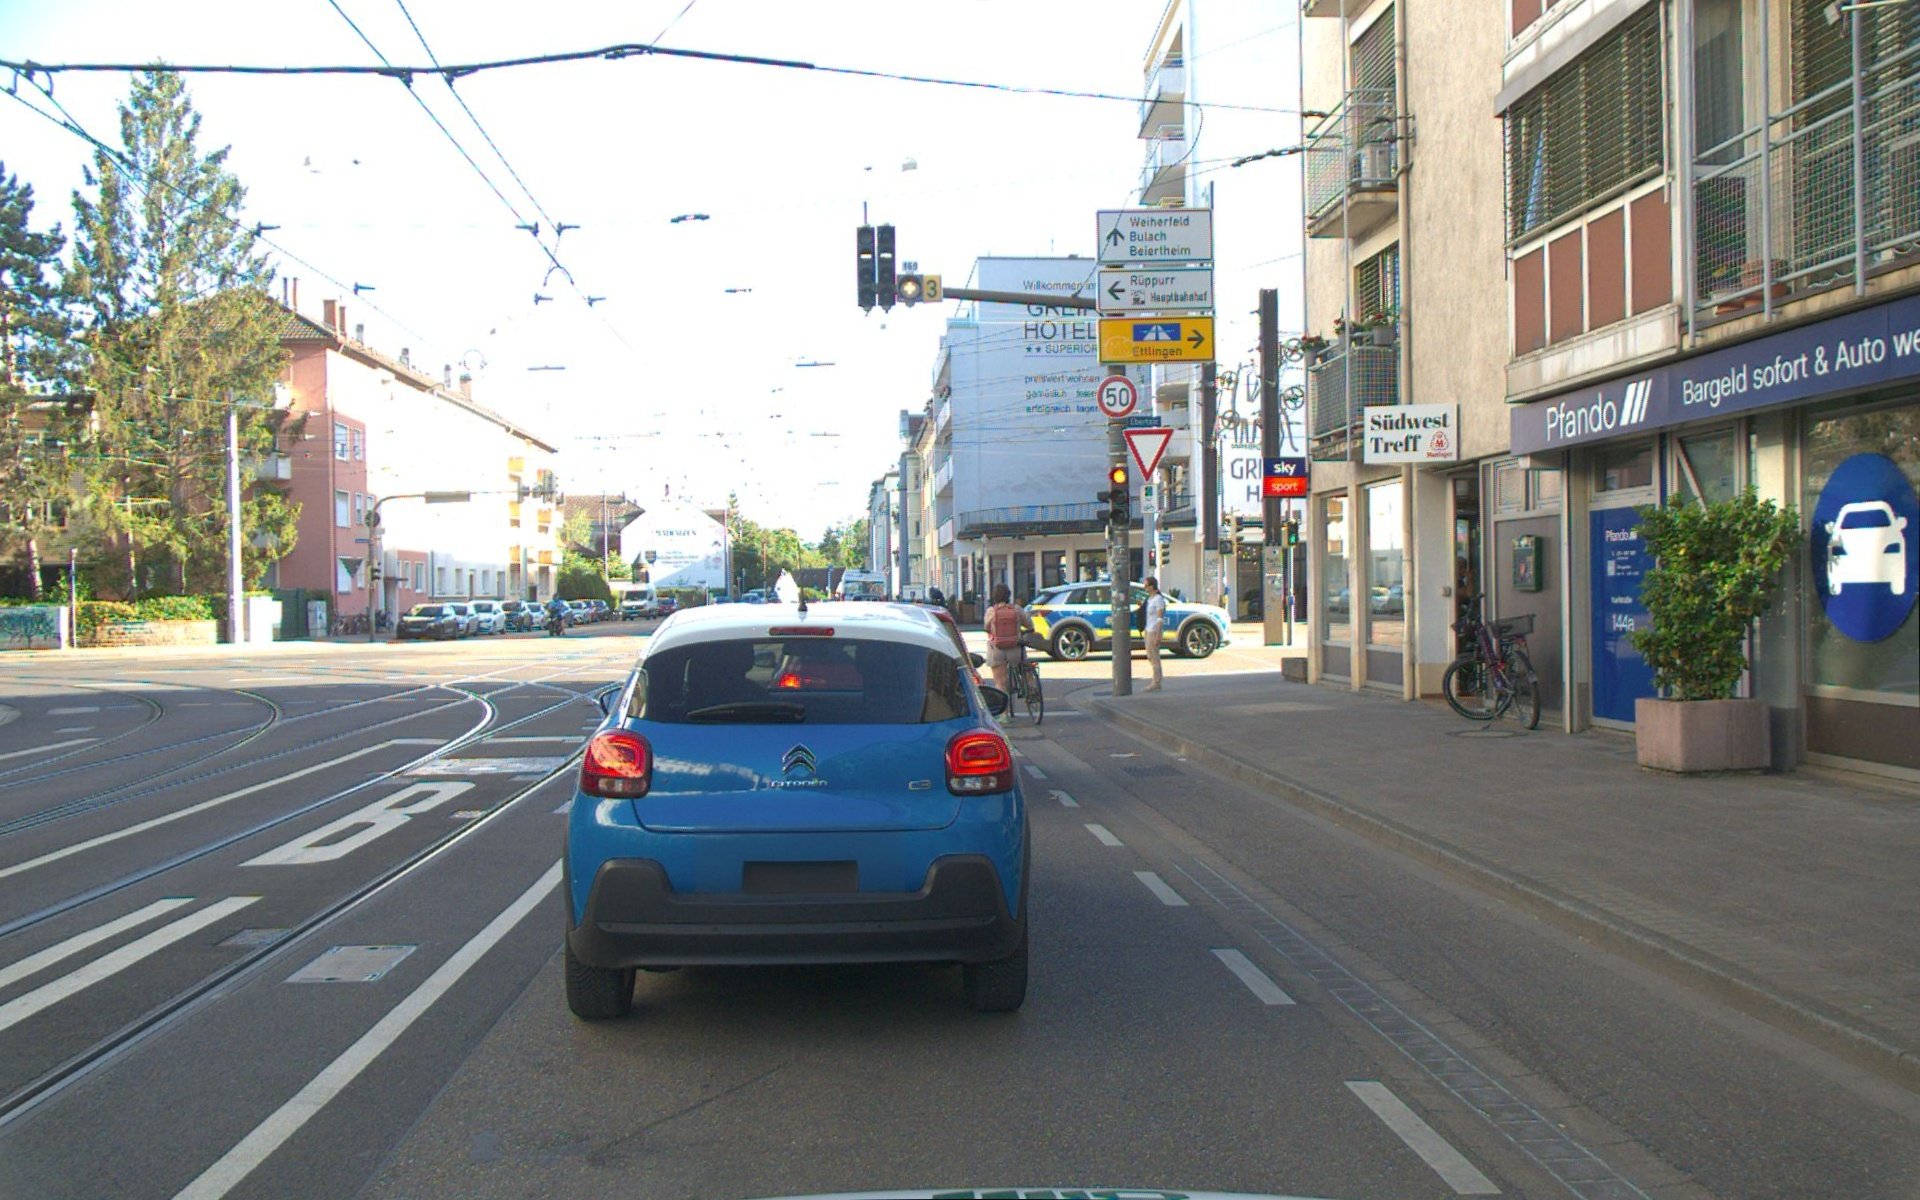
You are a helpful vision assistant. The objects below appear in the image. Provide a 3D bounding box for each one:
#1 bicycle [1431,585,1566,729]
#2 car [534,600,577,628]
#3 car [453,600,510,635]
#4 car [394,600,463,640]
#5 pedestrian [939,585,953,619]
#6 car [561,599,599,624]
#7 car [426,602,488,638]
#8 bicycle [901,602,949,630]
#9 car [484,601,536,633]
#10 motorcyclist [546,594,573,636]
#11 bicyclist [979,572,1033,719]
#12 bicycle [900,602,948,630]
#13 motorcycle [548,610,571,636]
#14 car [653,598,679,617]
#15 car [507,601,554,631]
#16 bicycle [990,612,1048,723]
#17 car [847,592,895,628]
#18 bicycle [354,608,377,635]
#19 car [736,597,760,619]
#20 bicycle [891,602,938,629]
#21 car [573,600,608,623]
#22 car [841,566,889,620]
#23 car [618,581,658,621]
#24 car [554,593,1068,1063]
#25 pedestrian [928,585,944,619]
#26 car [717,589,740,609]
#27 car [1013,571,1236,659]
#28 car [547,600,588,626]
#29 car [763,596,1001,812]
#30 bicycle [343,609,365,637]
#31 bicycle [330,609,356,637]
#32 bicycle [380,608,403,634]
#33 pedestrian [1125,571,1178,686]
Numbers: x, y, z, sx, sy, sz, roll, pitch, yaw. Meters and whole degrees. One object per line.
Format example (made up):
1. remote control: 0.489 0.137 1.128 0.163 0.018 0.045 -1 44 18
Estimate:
1. bicycle: 5.110 0.504 15.826 0.627 1.286 1.910 -1 0 -1
2. car: -23.940 0.822 97.998 1.913 1.545 3.995 -1 0 -6
3. car: -22.761 0.820 78.867 1.913 1.545 3.995 -1 0 -6
4. car: -22.019 0.791 68.656 1.913 1.545 3.995 -1 0 -6
5. pedestrian: -0.590 0.083 70.000 0.459 1.445 0.525 -1 0 -13
6. car: -24.857 0.749 108.268 1.913 1.545 3.995 -1 0 -6
7. car: -22.559 0.876 74.261 1.913 1.545 4.040 -1 0 -6
8. bicycle: -1.398 0.638 65.786 1.868 1.083 0.641 -1 0 -8
9. car: -23.239 0.839 85.524 1.913 1.545 3.995 -1 0 -6
10. motorcyclist: -16.210 0.606 66.959 0.973 1.659 0.737 -1 0 -10
11. bicyclist: 0.565 0.551 20.602 0.588 1.776 1.084 -1 0 -1
12. bicycle: -1.451 0.663 67.091 1.868 1.083 0.641 -1 0 -8
13. motorcycle: -16.230 0.939 67.027 0.738 0.993 2.092 -1 0 -9
14. car: -25.582 0.643 144.171 1.913 1.545 3.995 -1 0 -6
15. car: -23.769 0.855 91.573 1.913 1.545 3.995 -1 0 -6
16. bicycle: 0.718 0.814 20.643 0.601 1.286 1.910 -1 0 -1
17. car: -3.681 0.382 67.746 1.752 1.383 3.909 -1 0 -6
18. bicycle: -25.879 0.928 71.992 0.527 1.101 1.908 -1 0 -7
19. car: -21.820 0.807 170.498 2.293 2.074 5.044 -1 0 -6
20. bicycle: -1.865 0.641 68.277 1.868 1.083 0.641 -1 0 -8
21. car: -25.573 0.788 114.599 1.913 1.545 3.995 -1 0 -6
22. car: -4.236 -0.319 73.185 2.039 2.309 5.646 0 0 -4
23. car: -23.231 0.067 119.583 2.446 2.759 5.828 -1 0 -7
24. car: -0.615 0.731 7.357 1.647 1.488 3.997 1 0 -4
25. pedestrian: -1.015 0.088 70.245 0.514 1.445 0.547 -1 0 19
26. car: -20.284 -0.102 144.957 1.968 1.656 5.043 -1 0 -8
27. car: 3.435 0.301 35.002 4.446 1.713 1.790 -1 0 -5
28. car: -24.415 0.808 102.995 1.913 1.545 3.995 -1 0 -6
29. car: -0.682 0.726 13.566 1.647 1.488 3.997 1 0 -4
30. bicycle: -24.593 0.929 67.122 0.527 1.101 1.905 -1 0 -11
31. bicycle: -24.987 0.919 66.997 0.628 1.101 1.905 -1 0 -11
32. bicycle: -25.677 0.941 74.698 0.597 1.101 1.908 -1 0 -7
33. pedestrian: 2.822 0.412 24.415 0.735 1.663 0.740 -1 0 5
